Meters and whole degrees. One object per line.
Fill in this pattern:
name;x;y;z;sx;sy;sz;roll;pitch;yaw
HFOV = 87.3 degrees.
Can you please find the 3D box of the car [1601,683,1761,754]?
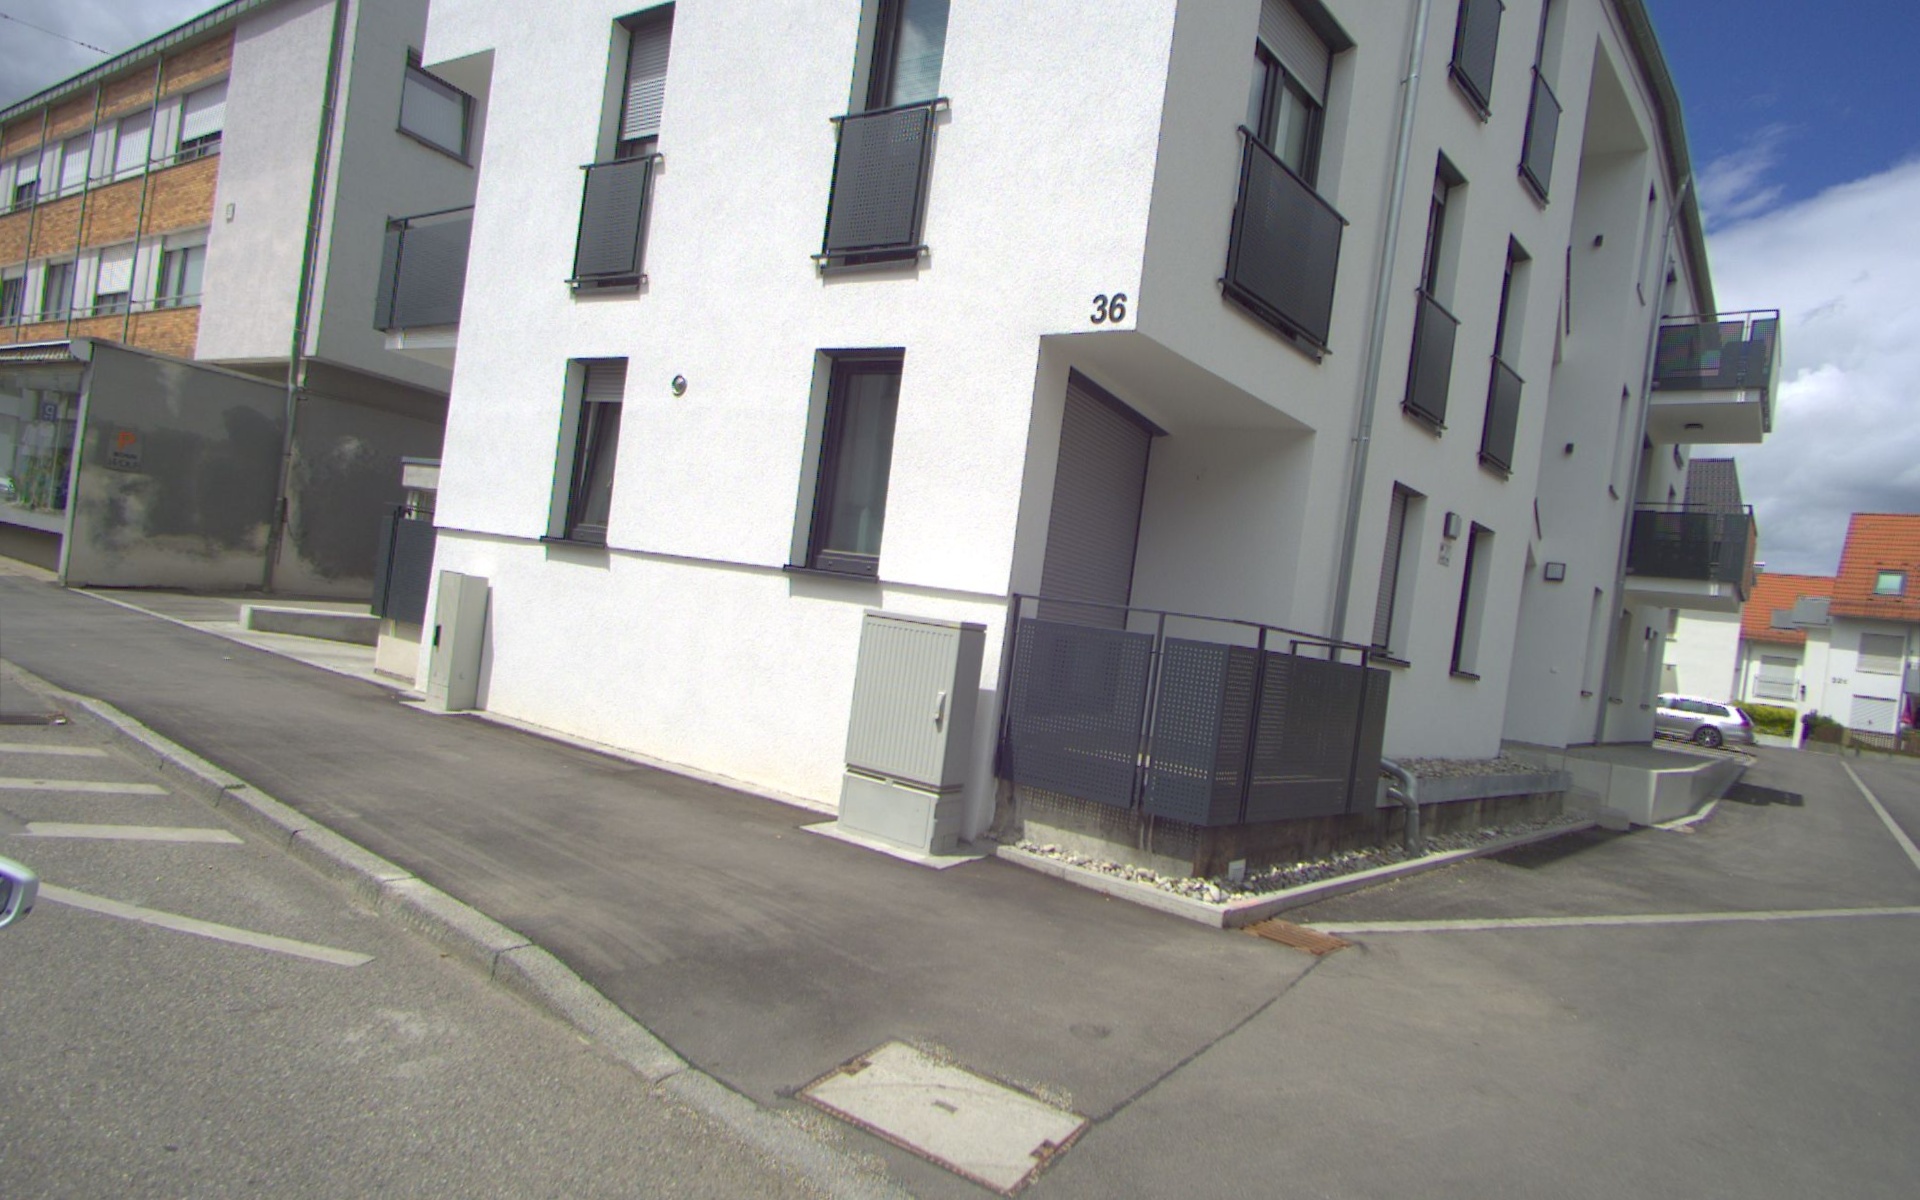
car;22.961;3.748;32.122;3.880;1.523;1.690;8;0;42
